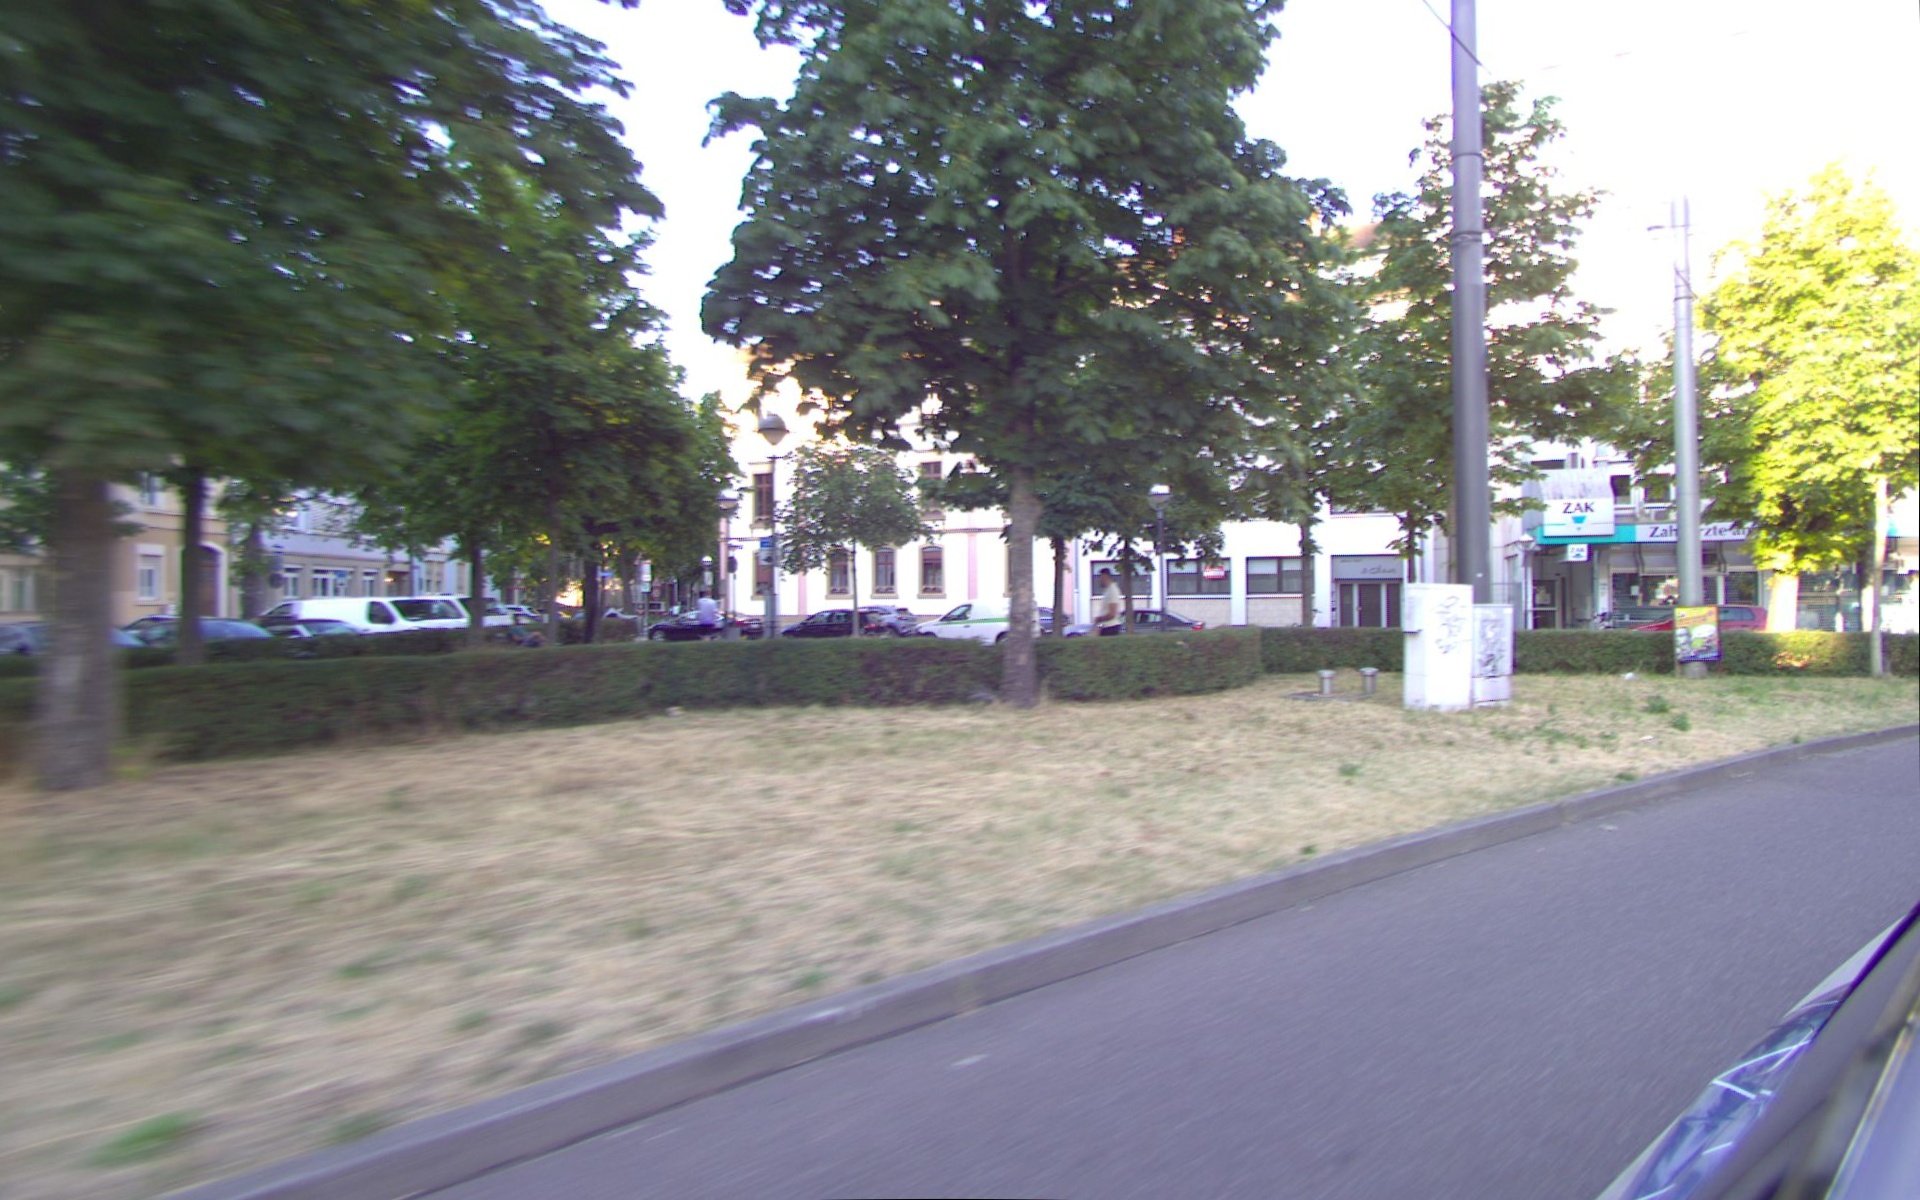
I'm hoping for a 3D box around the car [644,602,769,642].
[{"bbox_3d":[-9.463,0.818,37.809,4.340,1.437,1.716,0,-1,20],"label":"car"}]

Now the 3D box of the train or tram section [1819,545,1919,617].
[{"bbox_3d":[50.543,-1.009,53.358,2.910,3.629,13.294,-1,0,17],"label":"train or tram section"}]

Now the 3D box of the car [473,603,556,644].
[{"bbox_3d":[-26.064,1.362,59.326,3.990,2.323,2.000,0,-1,-1],"label":"car"}]

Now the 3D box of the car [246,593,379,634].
[{"bbox_3d":[-26.558,0.550,41.593,4.314,1.633,1.729,0,-1,-1],"label":"car"}]

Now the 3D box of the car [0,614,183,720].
[{"bbox_3d":[-15.150,1.008,16.444,4.009,1.571,1.990,0,-1,15],"label":"car"}]

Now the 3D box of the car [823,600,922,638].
[{"bbox_3d":[-3.513,0.759,40.833,3.632,1.468,1.689,0,-1,22],"label":"car"}]

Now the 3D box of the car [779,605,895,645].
[{"bbox_3d":[-4.345,0.871,35.776,3.736,1.353,1.716,0,-1,20],"label":"car"}]

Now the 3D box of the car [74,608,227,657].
[{"bbox_3d":[-26.931,1.058,33.706,4.009,1.571,1.990,0,-1,15],"label":"car"}]

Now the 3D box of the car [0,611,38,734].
[{"bbox_3d":[-14.846,0.967,13.445,4.009,1.639,1.990,0,-1,15],"label":"car"}]

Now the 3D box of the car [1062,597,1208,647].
[{"bbox_3d":[5.474,0.649,31.628,4.268,1.427,1.795,0,1,20],"label":"car"}]

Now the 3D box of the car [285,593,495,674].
[{"bbox_3d":[-14.691,0.812,26.064,5.024,1.927,2.105,0,-1,23],"label":"car"}]

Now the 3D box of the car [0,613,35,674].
[{"bbox_3d":[-26.711,1.108,26.033,3.990,1.571,2.000,0,-1,-1],"label":"car"}]

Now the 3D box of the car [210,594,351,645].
[{"bbox_3d":[-22.019,0.624,33.016,1.928,1.550,4.330,0,-1,-4],"label":"car"}]

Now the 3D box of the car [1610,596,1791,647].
[{"bbox_3d":[22.092,0.651,30.384,3.949,1.468,1.836,-1,-1,20],"label":"car"}]

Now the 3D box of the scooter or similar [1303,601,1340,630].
[{"bbox_3d":[13.369,0.584,37.443,1.177,1.045,0.481,-1,-2,41],"label":"scooter or similar"}]

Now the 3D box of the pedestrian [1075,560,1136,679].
[{"bbox_3d":[2.066,0.270,14.439,0.637,1.646,0.615,1,-1,-22],"label":"pedestrian"}]

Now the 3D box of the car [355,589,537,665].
[{"bbox_3d":[-14.925,0.755,29.378,5.024,2.048,1.952,0,-1,23],"label":"car"}]

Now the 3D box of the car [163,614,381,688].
[{"bbox_3d":[-15.655,1.099,23.094,4.009,1.571,1.990,0,-1,15],"label":"car"}]

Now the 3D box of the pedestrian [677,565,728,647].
[{"bbox_3d":[-6.611,0.163,25.980,0.991,2.039,0.829,1,-2,-39],"label":"pedestrian"}]

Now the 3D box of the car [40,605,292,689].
[{"bbox_3d":[-15.933,0.894,20.382,4.009,1.571,1.990,0,-1,15],"label":"car"}]

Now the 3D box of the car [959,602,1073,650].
[{"bbox_3d":[2.101,0.949,38.024,3.965,1.747,1.689,0,-1,22],"label":"car"}]

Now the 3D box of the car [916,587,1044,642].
[{"bbox_3d":[0.665,0.481,33.718,3.963,1.747,1.690,0,-1,20],"label":"car"}]
